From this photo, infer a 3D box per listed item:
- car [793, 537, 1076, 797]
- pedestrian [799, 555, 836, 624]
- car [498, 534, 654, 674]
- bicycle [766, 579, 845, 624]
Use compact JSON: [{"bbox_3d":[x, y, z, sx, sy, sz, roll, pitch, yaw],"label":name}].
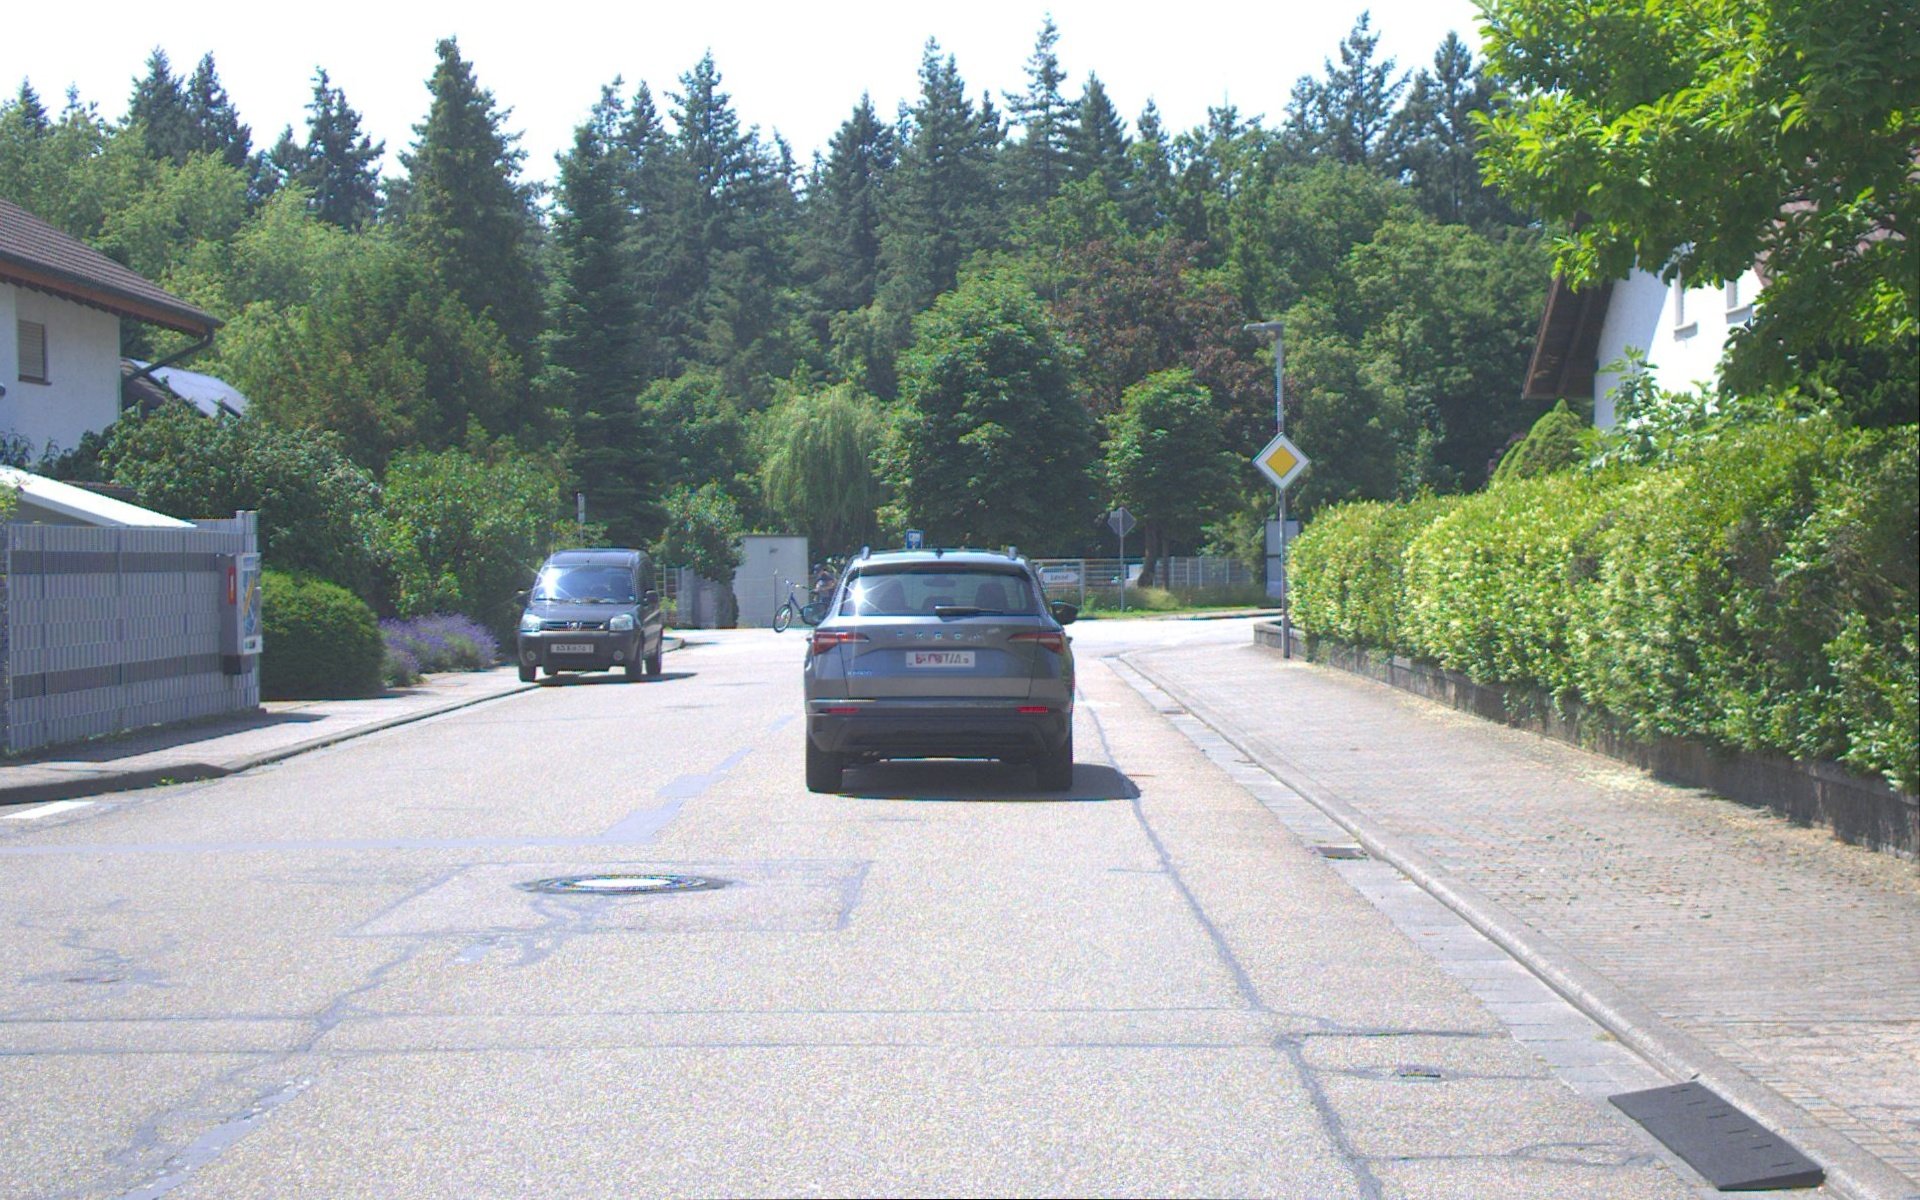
[{"bbox_3d":[-0.173,0.413,23.830,1.762,1.612,4.000,1,0,0],"label":"car"},{"bbox_3d":[-3.113,-0.234,75.026,0.610,1.495,0.504,0,0,-39],"label":"pedestrian"},{"bbox_3d":[-5.255,0.041,47.445,1.718,1.839,4.054,0,0,0],"label":"car"},{"bbox_3d":[-3.388,0.027,75.457,1.843,0.960,0.443,-1,1,-40],"label":"bicycle"}]
